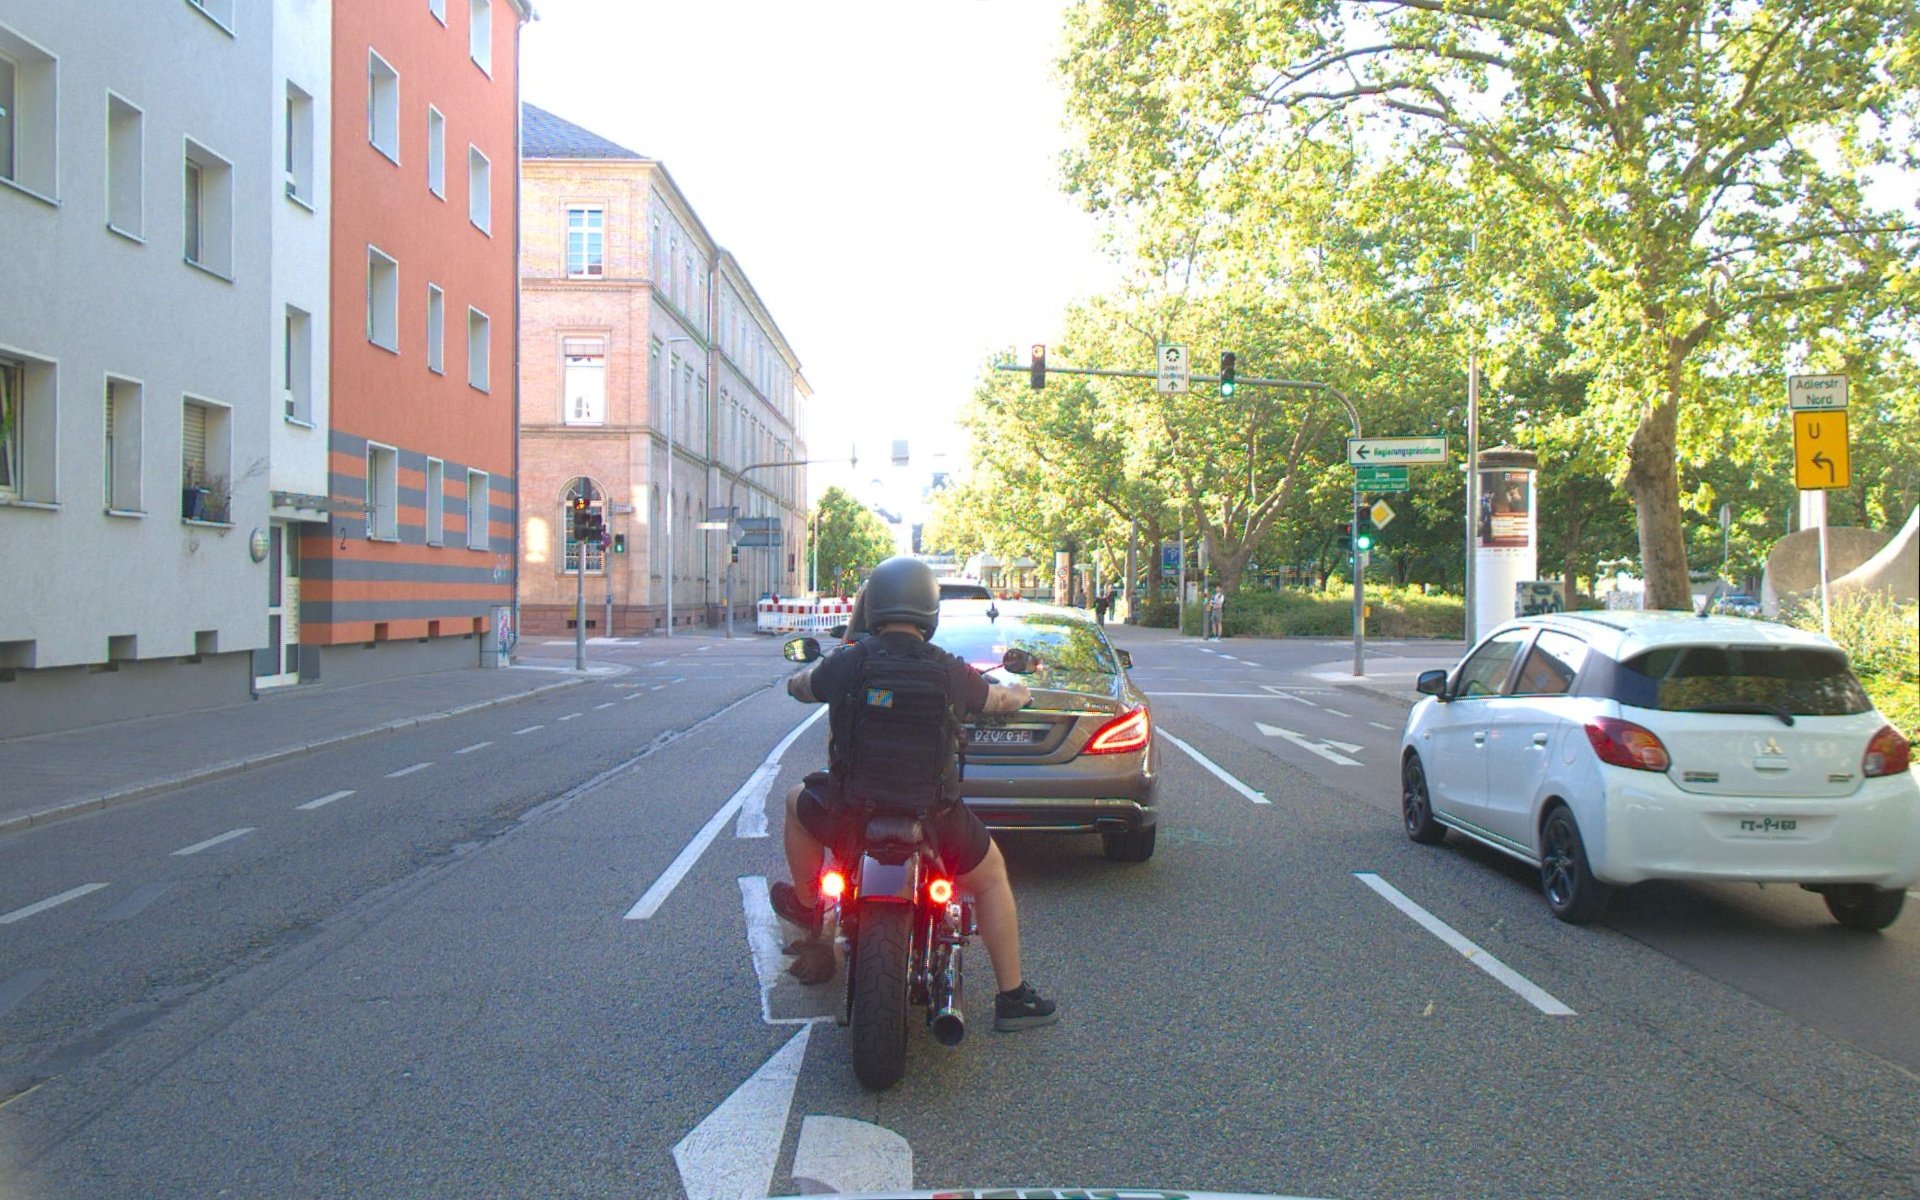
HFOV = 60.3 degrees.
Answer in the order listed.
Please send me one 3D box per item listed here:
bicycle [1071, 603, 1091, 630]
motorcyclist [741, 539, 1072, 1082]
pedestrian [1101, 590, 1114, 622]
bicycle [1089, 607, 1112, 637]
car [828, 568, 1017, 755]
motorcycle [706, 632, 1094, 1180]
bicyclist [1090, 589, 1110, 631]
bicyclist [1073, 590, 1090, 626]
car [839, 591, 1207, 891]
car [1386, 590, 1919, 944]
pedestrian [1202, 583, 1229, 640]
[{"bbox_3d":[5.258,0.710,71.722,0.643,1.131,2.185,2,0,-1],"label":"bicycle"},{"bbox_3d":[-0.172,0.629,5.686,0.991,1.630,1.406,0,0,-1],"label":"motorcyclist"},{"bbox_3d":[7.546,0.326,84.821,0.580,1.606,0.527,2,0,-1],"label":"pedestrian"},{"bbox_3d":[5.277,0.816,62.230,0.643,1.089,1.926,2,0,-1],"label":"bicycle"},{"bbox_3d":[-0.491,0.572,17.155,1.599,1.679,3.845,2,0,-6],"label":"car"},{"bbox_3d":[-0.175,0.808,5.572,0.991,1.329,2.672,0,0,-1],"label":"motorcycle"},{"bbox_3d":[5.261,0.389,62.280,0.643,1.557,0.852,2,0,-1],"label":"bicyclist"},{"bbox_3d":[5.267,0.342,71.692,0.643,1.557,0.906,2,0,-1],"label":"bicyclist"},{"bbox_3d":[0.279,0.683,10.014,1.791,1.445,3.814,1,0,-1],"label":"car"},{"bbox_3d":[3.682,0.747,9.177,1.645,1.524,3.685,2,0,0],"label":"car"},{"bbox_3d":[8.294,0.369,53.680,0.566,1.805,0.618,2,0,-35],"label":"pedestrian"}]
